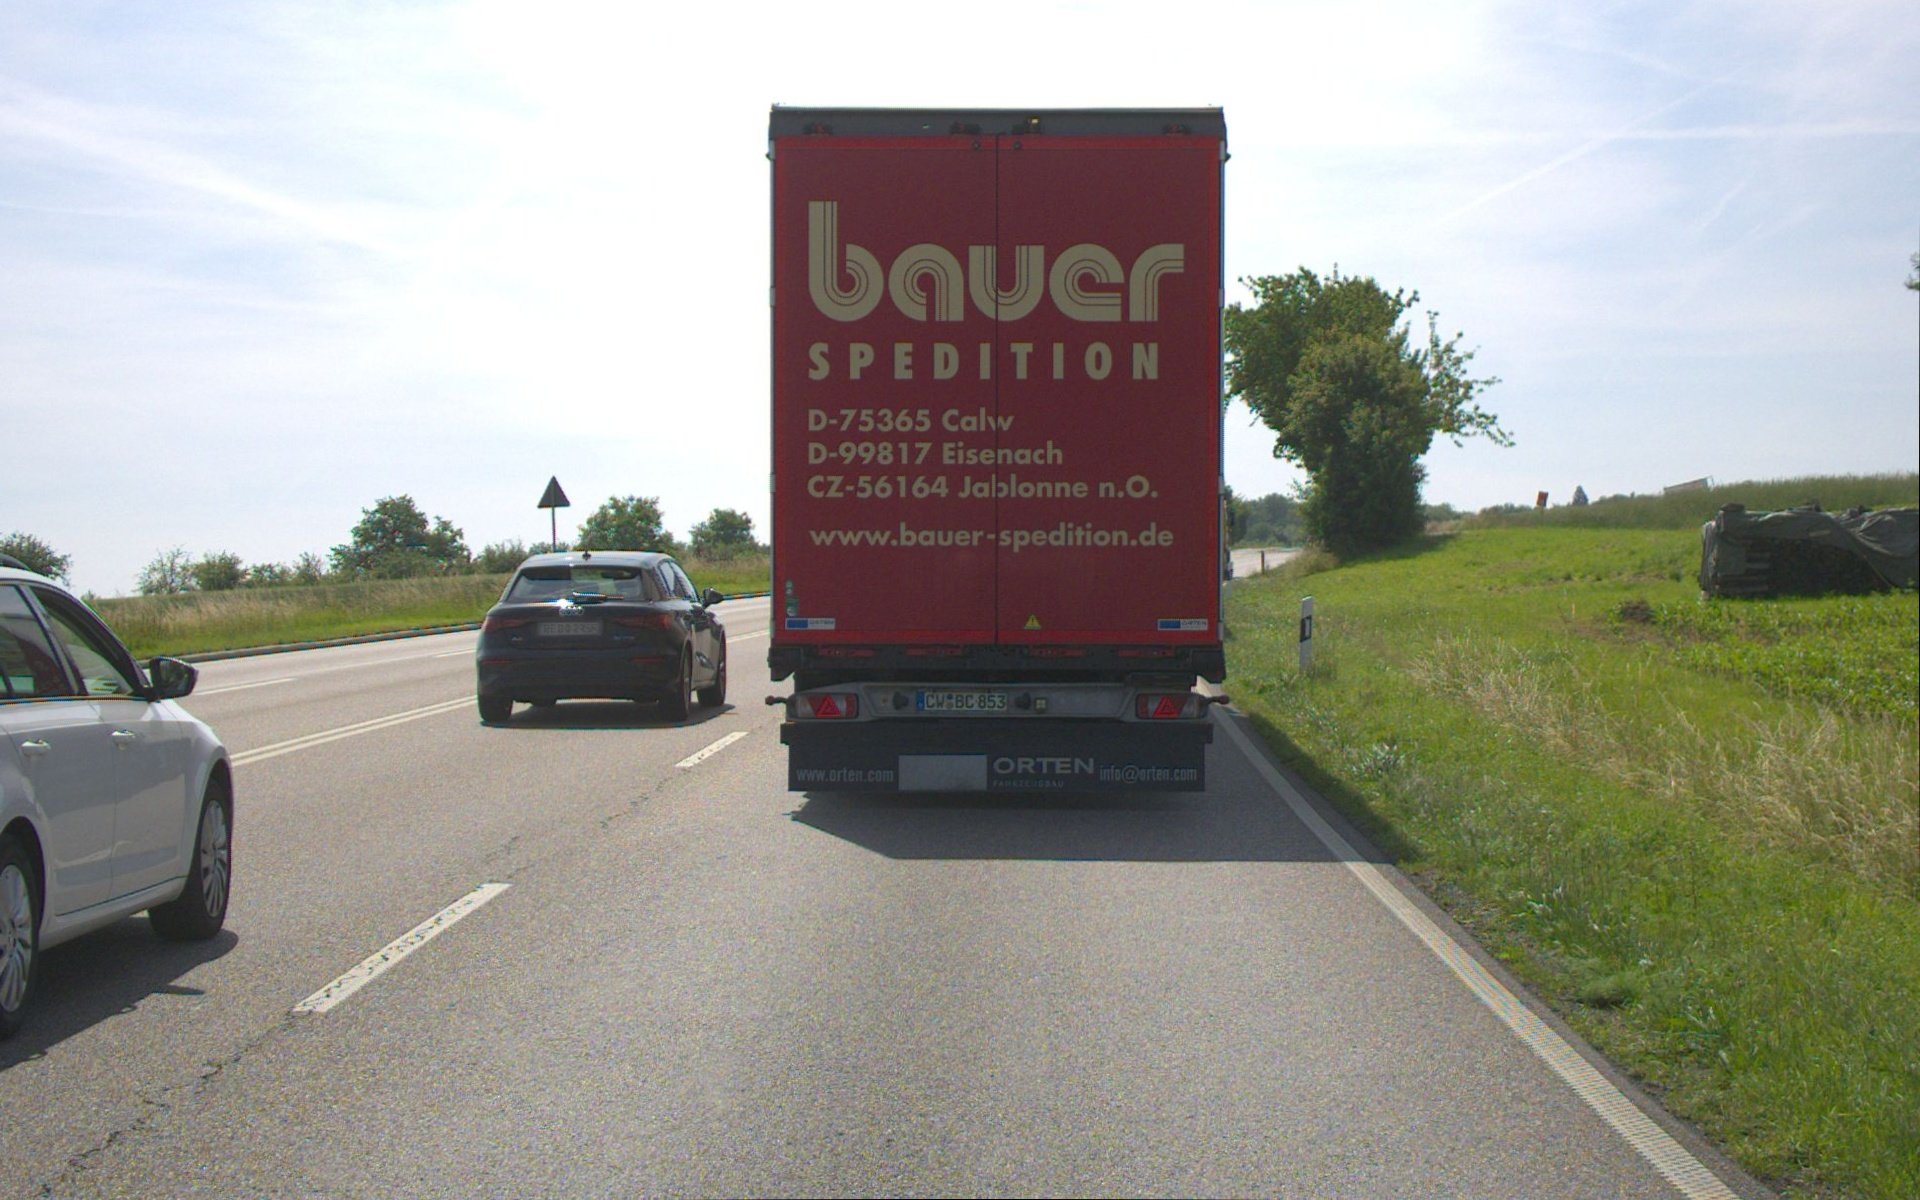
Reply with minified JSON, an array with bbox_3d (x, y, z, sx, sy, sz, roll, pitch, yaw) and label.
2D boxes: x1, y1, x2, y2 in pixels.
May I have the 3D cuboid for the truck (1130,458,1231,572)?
[{"bbox_3d":[8.297,-3.082,127.125,3.047,3.897,18.394,0,1,6],"label":"truck"}]

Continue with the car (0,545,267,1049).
[{"bbox_3d":[-3.729,0.559,11.475,1.821,1.467,4.789,1,1,1],"label":"car"}]

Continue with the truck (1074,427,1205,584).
[{"bbox_3d":[5.042,-2.504,93.697,3.047,3.897,15.613,0,1,5],"label":"truck"}]

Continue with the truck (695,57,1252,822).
[{"bbox_3d":[0.178,-1.010,27.239,3.007,4.165,16.714,1,1,1],"label":"truck"}]

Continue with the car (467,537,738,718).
[{"bbox_3d":[-3.074,0.189,30.448,1.705,1.467,4.811,0,1,2],"label":"car"}]

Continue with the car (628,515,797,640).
[{"bbox_3d":[-3.862,-0.374,54.572,1.905,1.878,5.431,0,1,4],"label":"car"}]
